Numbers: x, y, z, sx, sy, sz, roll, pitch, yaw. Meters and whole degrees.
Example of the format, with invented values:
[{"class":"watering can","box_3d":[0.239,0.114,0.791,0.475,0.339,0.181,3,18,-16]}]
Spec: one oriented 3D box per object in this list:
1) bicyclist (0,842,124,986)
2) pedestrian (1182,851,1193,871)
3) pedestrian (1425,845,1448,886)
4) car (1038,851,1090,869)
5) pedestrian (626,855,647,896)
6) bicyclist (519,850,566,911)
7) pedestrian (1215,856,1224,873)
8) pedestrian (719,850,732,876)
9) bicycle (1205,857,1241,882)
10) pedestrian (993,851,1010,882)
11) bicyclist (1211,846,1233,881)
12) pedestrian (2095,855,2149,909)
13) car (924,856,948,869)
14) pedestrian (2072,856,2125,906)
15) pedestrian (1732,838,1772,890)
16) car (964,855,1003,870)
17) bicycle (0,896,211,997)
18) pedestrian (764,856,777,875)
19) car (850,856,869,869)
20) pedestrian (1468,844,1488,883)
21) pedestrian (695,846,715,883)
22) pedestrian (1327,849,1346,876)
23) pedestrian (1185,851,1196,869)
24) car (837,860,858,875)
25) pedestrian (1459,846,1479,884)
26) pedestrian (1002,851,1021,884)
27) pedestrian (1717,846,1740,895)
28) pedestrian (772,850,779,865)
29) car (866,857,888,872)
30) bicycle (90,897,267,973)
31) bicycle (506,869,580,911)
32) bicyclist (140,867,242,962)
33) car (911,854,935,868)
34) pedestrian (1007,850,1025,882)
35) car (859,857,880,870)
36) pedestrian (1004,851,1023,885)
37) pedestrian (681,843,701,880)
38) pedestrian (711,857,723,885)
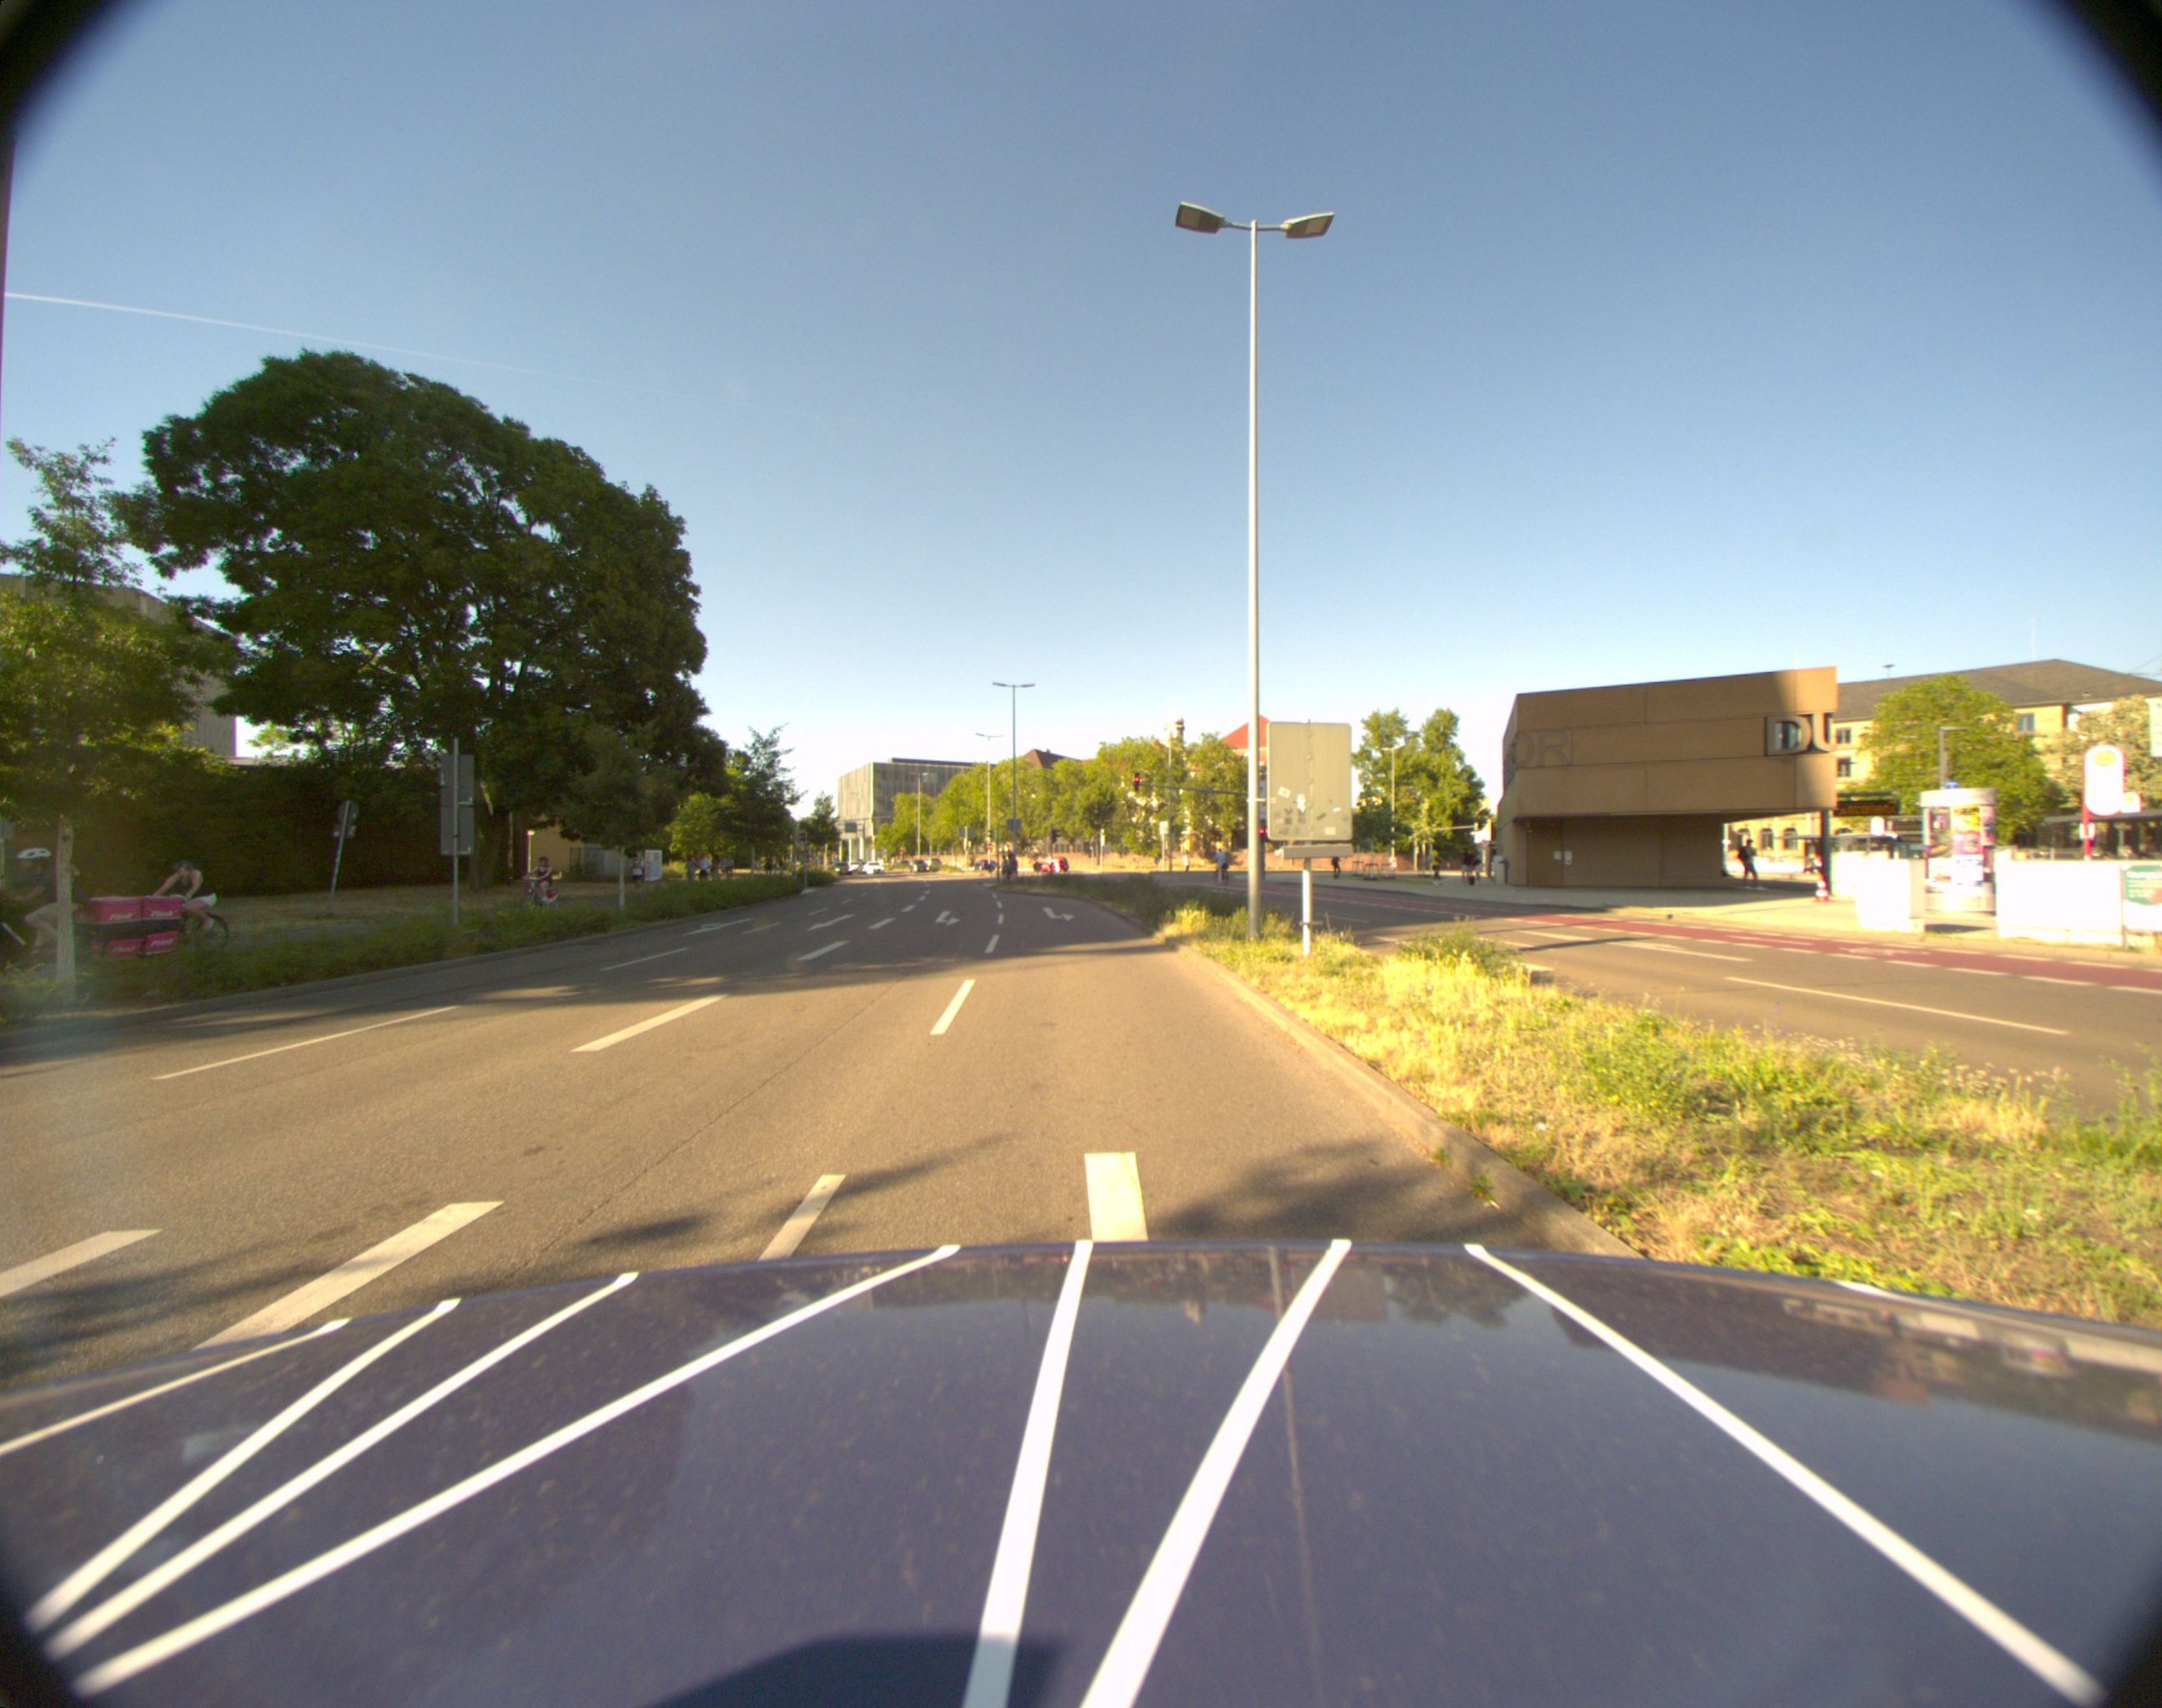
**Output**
[{"class":"bicyclist","box_3d":[-13.923,0.755,10.195,0.779,1.823,1.094,0,1,11]},{"class":"pedestrian","box_3d":[10.373,0.637,73.968,0.873,1.884,0.711,0,4,-12]},{"class":"pedestrian","box_3d":[16.120,0.525,34.455,0.718,1.824,0.639,-1,-1,1]},{"class":"car","box_3d":[-1.716,0.604,74.712,4.594,1.576,2.200,-2,-2,30]},{"class":"pedestrian","box_3d":[-18.752,0.903,32.052,0.623,1.689,0.629,0,1,-16]},{"class":"bicyclist","box_3d":[-16.080,0.773,22.723,0.717,1.778,0.849,-2,1,-1]},{"class":"pedestrian","box_3d":[13.318,1.001,73.089,0.791,1.644,0.713,2,4,17]},{"class":"pedestrian","box_3d":[-23.595,0.580,50.447,0.677,1.694,0.875,0,1,-30]},{"class":"bicycle","box_3d":[7.382,0.792,39.628,0.743,1.248,2.552,-1,1,-18]},{"class":"pedestrian","box_3d":[-4.445,0.698,42.368,0.928,1.731,0.756,0,1,-10]},{"class":"bicyclist","box_3d":[7.358,0.488,39.695,0.743,1.821,1.012,-1,1,-18]},{"class":"pedestrian","box_3d":[39.325,1.039,28.717,0.978,1.970,0.720,1,0,29]},{"class":"car","box_3d":[-19.978,1.214,104.273,2.198,1.673,4.598,-1,-2,-25]},{"class":"pedestrian","box_3d":[40.361,1.056,30.155,0.994,1.970,0.831,1,0,29]},{"class":"pedestrian","box_3d":[25.551,0.373,28.941,0.978,1.970,0.720,1,0,27]},{"class":"car","box_3d":[-11.511,1.036,89.464,4.594,1.576,2.200,-3,-2,43]},{"class":"bicycle","box_3d":[-13.898,1.228,10.379,0.779,1.149,2.583,0,0,11]},{"class":"pedestrian","box_3d":[-28.683,1.029,70.202,1.020,1.739,0.847,0,0,-31]},{"class":"car","box_3d":[-27.693,1.069,94.807,1.927,1.510,4.010,0,0,-22]},{"class":"pedestrian","box_3d":[18.006,0.430,34.443,0.734,1.720,0.666,-2,-1,26]},{"class":"pedestrian","box_3d":[-18.778,0.524,37.957,0.575,1.858,0.624,0,1,26]},{"class":"pedestrian","box_3d":[15.940,0.552,47.450,0.900,1.675,0.747,0,0,-10]},{"class":"pedestrian","box_3d":[10.530,0.608,73.036,0.873,1.665,0.711,0,4,-12]},{"class":"car","box_3d":[-24.476,1.403,79.503,1.805,1.510,3.992,0,0,-22]},{"class":"pedestrian","box_3d":[17.247,0.498,33.754,0.638,1.678,0.551,-2,-1,14]},{"class":"pedestrian","box_3d":[-3.702,0.727,40.505,0.928,1.731,0.756,0,1,-10]},{"class":"pedestrian","box_3d":[26.555,0.682,31.187,0.613,2.001,0.809,-2,-1,37]},{"class":"pedestrian","box_3d":[-33.395,0.388,83.070,0.713,1.703,0.732,0,1,-25]},{"class":"car","box_3d":[-22.017,1.113,82.002,1.805,1.510,4.423,0,0,-22]},{"class":"bicycle","box_3d":[-14.973,1.310,12.696,0.719,1.114,1.869,-1,-1,1]},{"class":"bicycle","box_3d":[-16.064,1.058,22.745,0.719,1.115,2.066,-2,1,-1]},{"class":"bicyclist","box_3d":[-14.979,0.997,12.812,0.717,1.539,0.850,-1,-1,1]},{"class":"car","box_3d":[-17.414,0.763,83.422,1.927,1.510,4.010,0,0,-22]},{"class":"pedestrian","box_3d":[-3.562,0.663,41.419,0.928,1.731,0.787,0,1,-10]},{"class":"car","box_3d":[-24.767,1.063,88.795,1.927,1.510,4.010,0,0,-22]},{"class":"pedestrian","box_3d":[-3.537,0.732,39.705,0.928,1.731,0.756,0,1,-10]},{"class":"pedestrian","box_3d":[-19.490,0.380,37.967,0.575,1.858,0.624,0,1,26]},{"class":"pedestrian","box_3d":[-21.119,0.974,44.066,0.623,1.565,0.638,0,1,-25]}]
